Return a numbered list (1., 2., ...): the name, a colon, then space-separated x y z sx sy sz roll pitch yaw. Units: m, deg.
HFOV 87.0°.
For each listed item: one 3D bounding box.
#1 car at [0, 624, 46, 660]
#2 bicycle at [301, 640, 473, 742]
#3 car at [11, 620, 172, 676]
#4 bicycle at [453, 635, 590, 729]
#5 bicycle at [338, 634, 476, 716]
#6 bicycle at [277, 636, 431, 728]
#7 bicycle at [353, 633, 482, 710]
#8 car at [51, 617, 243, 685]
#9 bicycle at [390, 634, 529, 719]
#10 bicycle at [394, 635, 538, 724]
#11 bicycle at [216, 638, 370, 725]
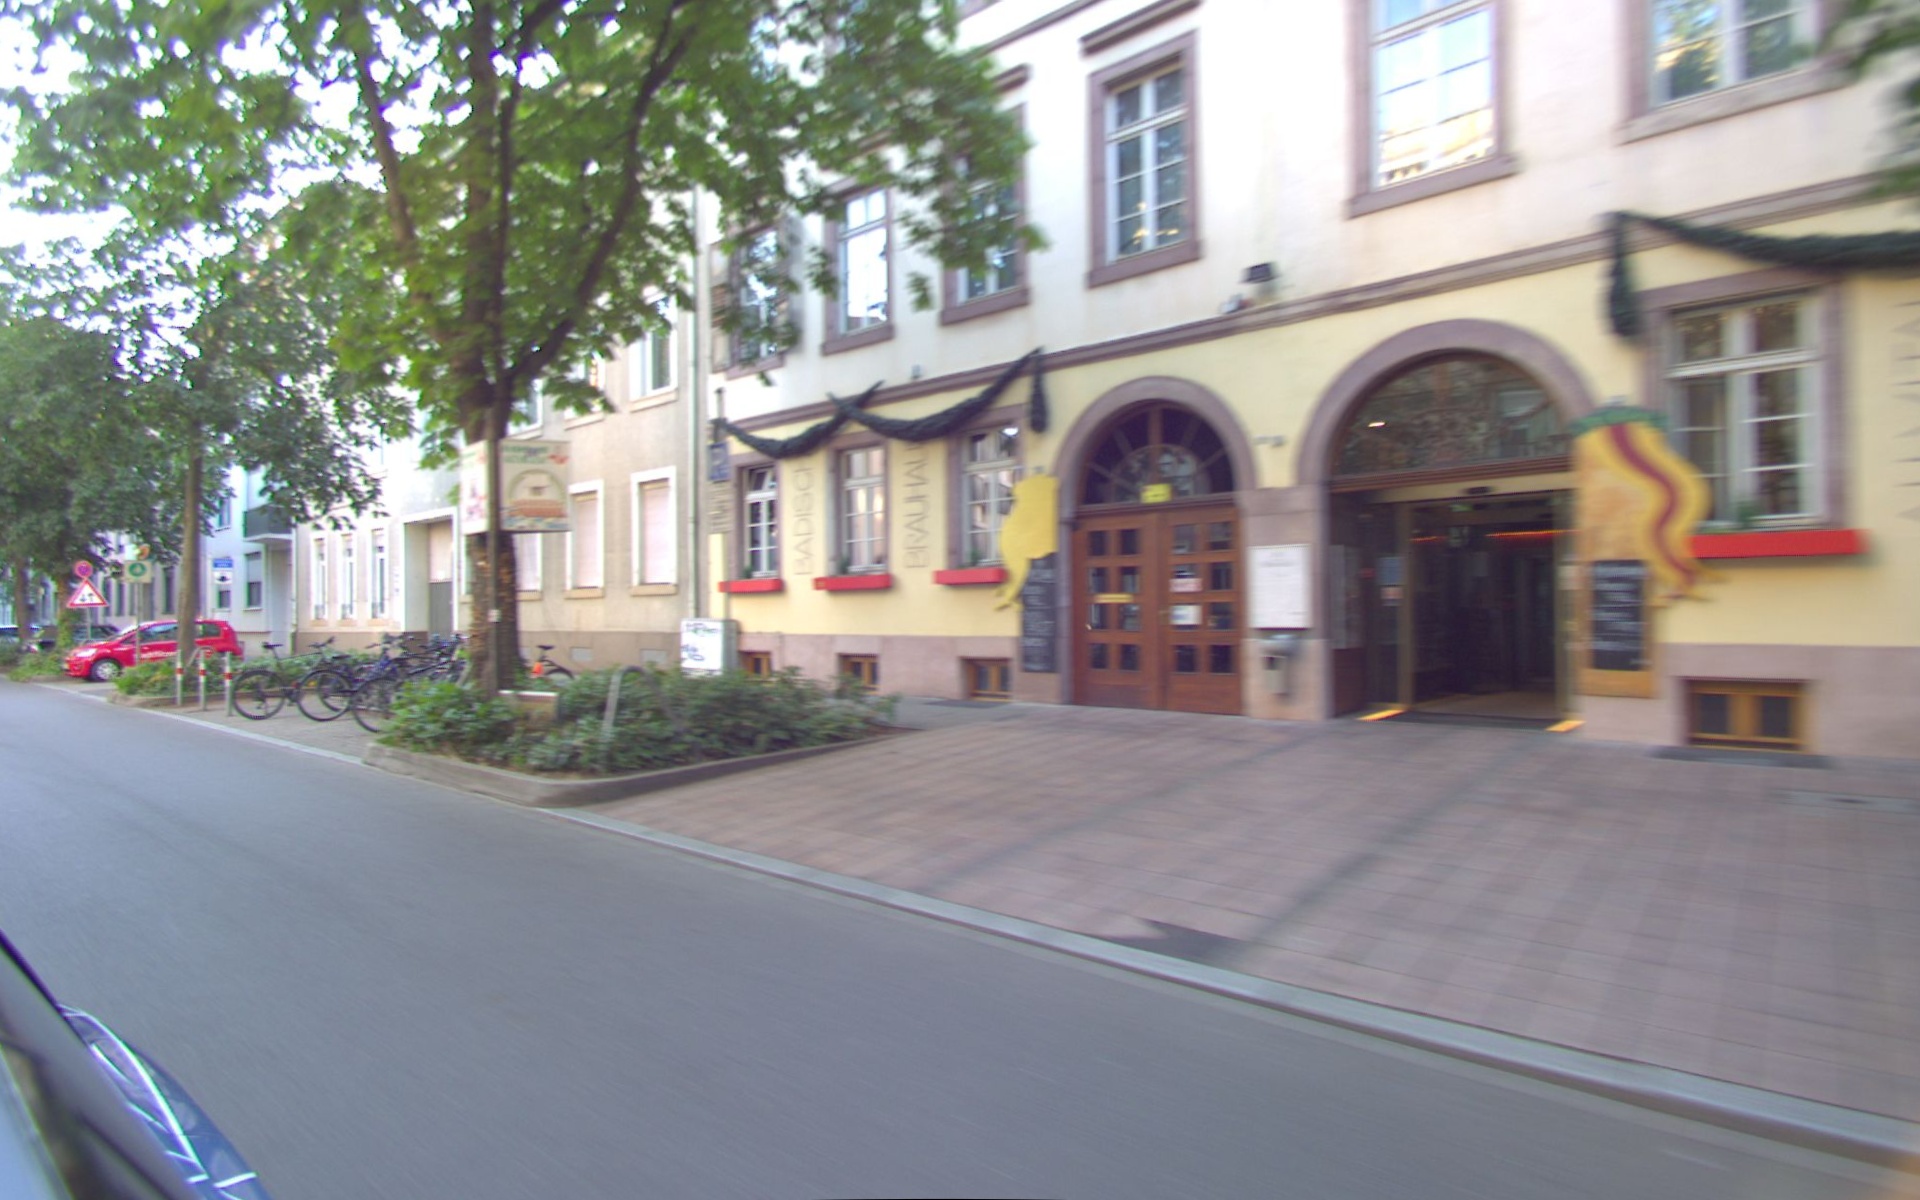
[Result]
1. car: -41.320 1.852 42.970 1.589 1.430 3.507 -2 1 40
2. bicycle: -7.186 1.104 12.785 0.479 1.107 1.848 -1 0 34
3. car: -26.854 1.452 31.371 1.588 1.430 3.510 -2 1 38
4. bicycle: -5.896 1.076 13.691 0.479 1.107 1.692 -1 0 34
5. bicycle: -8.537 1.133 15.703 0.479 1.107 1.848 -1 0 34
6. bicycle: -8.671 1.136 14.563 0.479 1.153 1.848 -1 0 34
7. bicycle: -8.879 1.138 16.647 0.479 1.107 1.848 -1 0 34
8. car: -20.480 1.232 25.593 1.671 1.416 3.455 -2 1 38
9. bicycle: -7.460 1.112 15.164 0.508 1.107 1.848 -1 0 34
10. bicycle: -7.052 1.099 14.547 0.479 1.107 1.848 -1 0 34
11. bicycle: -9.847 1.168 15.009 0.479 1.106 1.848 -1 0 34
